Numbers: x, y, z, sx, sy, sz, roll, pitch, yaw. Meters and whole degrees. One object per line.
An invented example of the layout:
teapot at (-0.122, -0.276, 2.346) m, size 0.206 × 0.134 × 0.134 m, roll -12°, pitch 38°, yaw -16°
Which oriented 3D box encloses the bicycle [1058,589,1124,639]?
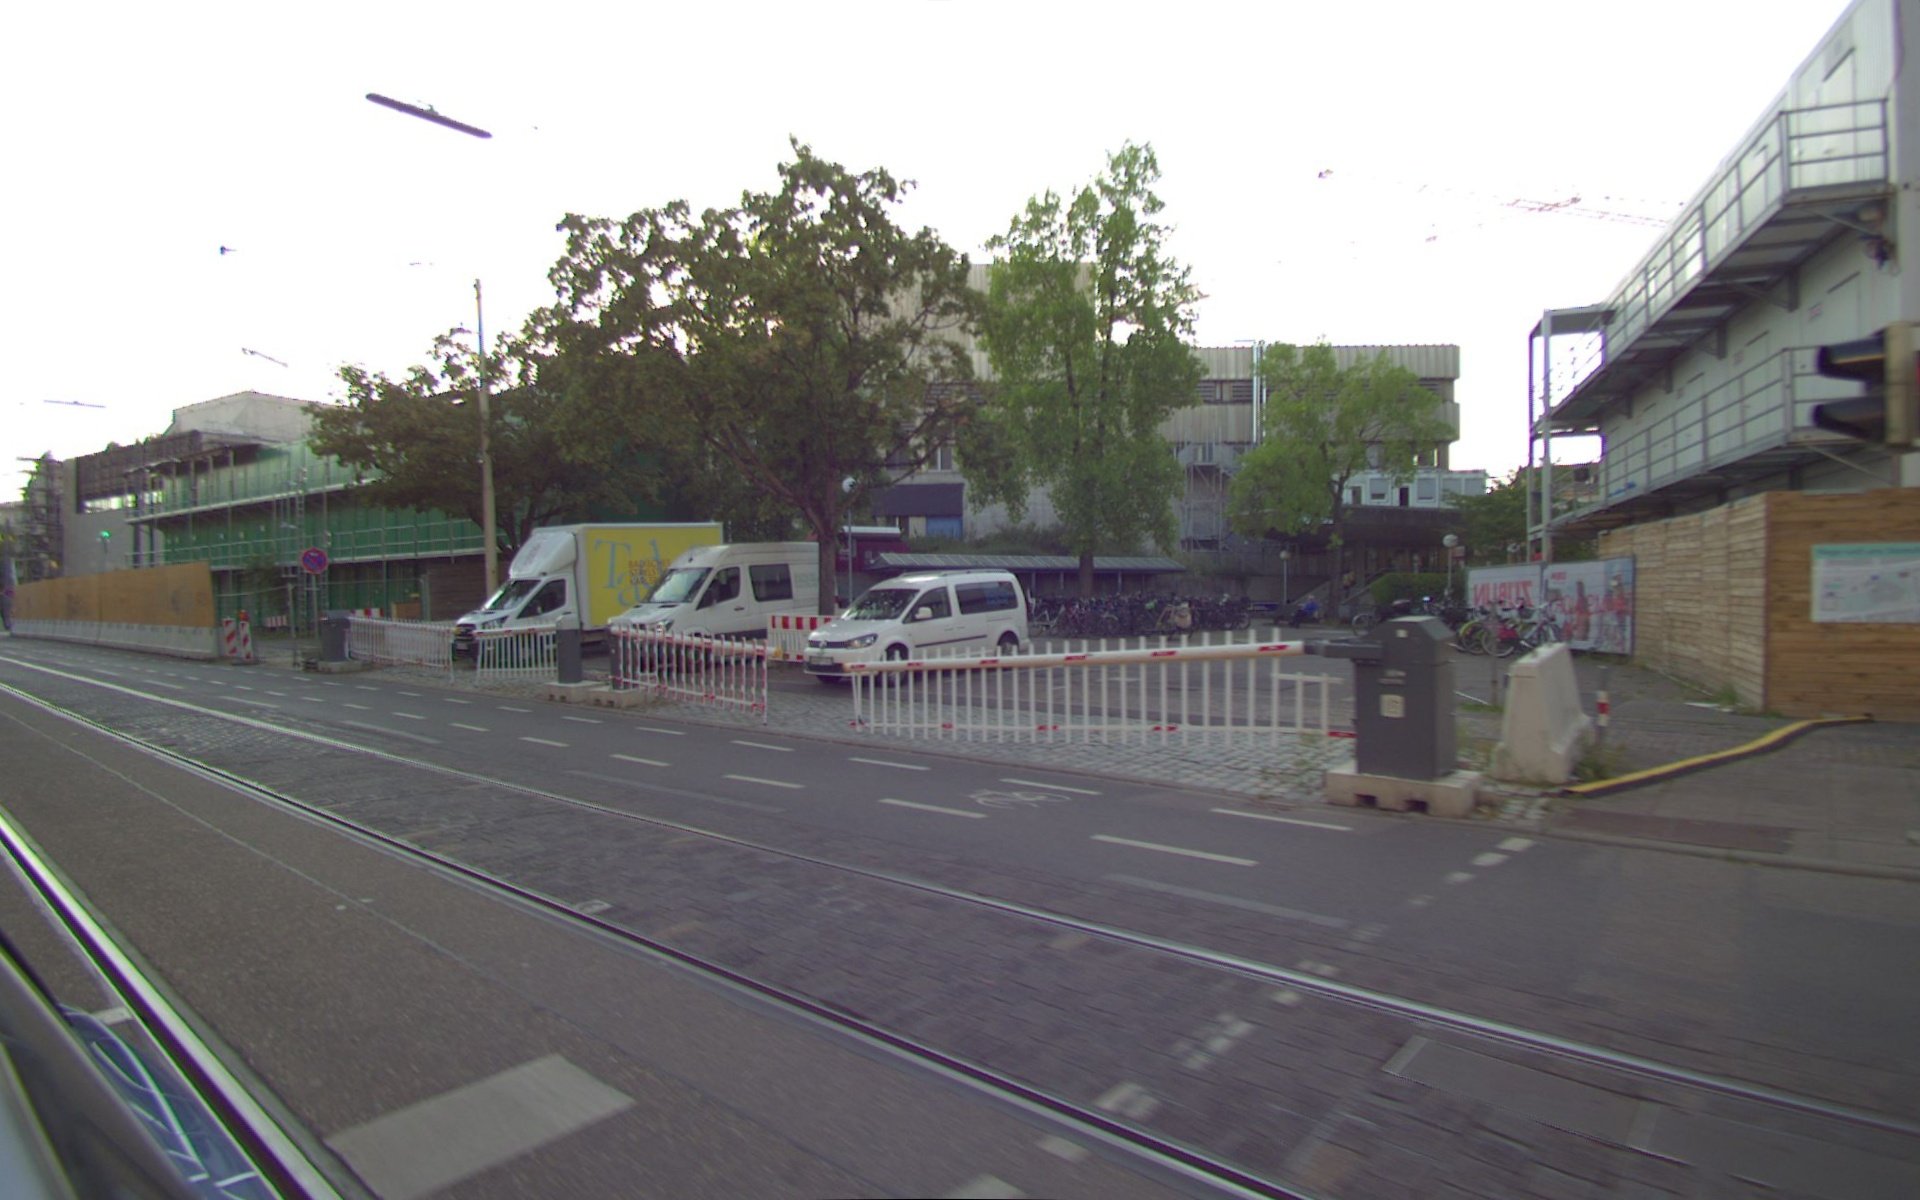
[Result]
bicycle at (3.766, 0.403, 29.266) m, size 0.535 × 1.379 × 1.978 m, roll -1°, pitch 0°, yaw -45°

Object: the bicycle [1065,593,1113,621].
bicycle at (5.744, 0.312, 45.177) m, size 0.798 × 1.191 × 2.271 m, roll -1°, pitch 0°, yaw -32°

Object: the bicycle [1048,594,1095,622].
bicycle at (4.919, 0.373, 44.912) m, size 0.798 × 1.191 × 2.271 m, roll -1°, pitch 0°, yaw -32°

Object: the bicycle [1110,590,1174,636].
bicycle at (5.600, 0.397, 31.159) m, size 0.535 × 1.379 × 1.978 m, roll -1°, pitch 0°, yaw -45°

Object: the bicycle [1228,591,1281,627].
bicycle at (11.563, 0.349, 39.829) m, size 0.535 × 1.379 × 1.978 m, roll -1°, pitch 0°, yaw -45°

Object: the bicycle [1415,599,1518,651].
bicycle at (11.246, 0.559, 22.522) m, size 1.956 × 1.114 × 0.541 m, roll -1°, pitch 0°, yaw 12°

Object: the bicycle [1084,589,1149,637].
bicycle at (4.650, 0.381, 30.195) m, size 0.535 × 1.379 × 1.978 m, roll -1°, pitch 0°, yaw -45°

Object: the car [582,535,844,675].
car at (-5.099, 0.085, 21.608) m, size 2.226 × 2.617 × 5.170 m, roll -1°, pitch 0°, yaw 37°

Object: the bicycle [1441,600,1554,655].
bicycle at (11.126, 0.569, 20.997) m, size 1.956 × 1.114 × 0.541 m, roll -1°, pitch 0°, yaw 12°

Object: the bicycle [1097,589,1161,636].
bicycle at (5.097, 0.380, 30.628) m, size 0.535 × 1.379 × 1.978 m, roll -1°, pitch 0°, yaw -45°

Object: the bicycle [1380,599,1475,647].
bicycle at (11.166, 0.558, 24.222) m, size 1.956 × 1.114 × 0.541 m, roll -1°, pitch 0°, yaw 12°

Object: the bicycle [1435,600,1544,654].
bicycle at (11.300, 0.579, 21.649) m, size 1.956 × 1.114 × 0.541 m, roll -1°, pitch 0°, yaw 12°

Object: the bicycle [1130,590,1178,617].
bicycle at (8.835, 0.161, 46.164) m, size 0.798 × 1.191 × 2.271 m, roll -1°, pitch 0°, yaw -32°

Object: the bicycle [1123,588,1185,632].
bicycle at (6.240, 0.335, 32.589) m, size 0.535 × 1.379 × 1.978 m, roll -1°, pitch 0°, yaw -45°

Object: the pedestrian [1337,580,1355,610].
pedestrian at (18.637, -0.263, 48.880) m, size 0.630 × 1.434 × 0.753 m, roll -1°, pitch 0°, yaw 37°

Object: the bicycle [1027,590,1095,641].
bicycle at (2.779, 0.420, 28.088) m, size 0.535 × 1.379 × 1.978 m, roll -1°, pitch 0°, yaw -45°

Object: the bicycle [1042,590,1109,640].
bicycle at (3.253, 0.411, 28.722) m, size 0.535 × 1.379 × 1.978 m, roll -1°, pitch 0°, yaw -45°

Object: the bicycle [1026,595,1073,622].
bicycle at (3.933, 0.379, 44.684) m, size 0.798 × 1.191 × 2.271 m, roll -1°, pitch 0°, yaw -32°

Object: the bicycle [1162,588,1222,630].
bicycle at (7.784, 0.302, 34.061) m, size 0.535 × 1.379 × 1.978 m, roll -1°, pitch 0°, yaw -45°

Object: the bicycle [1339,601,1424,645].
bicycle at (10.963, 0.594, 26.394) m, size 1.956 × 1.114 × 0.541 m, roll -1°, pitch 0°, yaw 12°

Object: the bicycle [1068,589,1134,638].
bicycle at (4.133, 0.396, 29.752) m, size 0.535 × 1.379 × 1.978 m, roll -1°, pitch 0°, yaw -45°

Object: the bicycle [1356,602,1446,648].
bicycle at (11.001, 0.624, 25.292) m, size 1.956 × 1.114 × 0.541 m, roll -1°, pitch 0°, yaw 12°

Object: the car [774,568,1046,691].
car at (-0.739, 0.431, 17.972) m, size 2.015 × 1.888 × 4.781 m, roll -1°, pitch 0°, yaw 42°

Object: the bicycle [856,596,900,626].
bicycle at (-3.360, 0.449, 41.235) m, size 0.798 × 1.191 × 2.271 m, roll -1°, pitch 0°, yaw -32°

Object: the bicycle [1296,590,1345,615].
bicycle at (17.911, 0.119, 50.305) m, size 0.798 × 1.191 × 2.271 m, roll -1°, pitch 0°, yaw -32°

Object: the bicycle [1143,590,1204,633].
bicycle at (7.034, 0.375, 33.441) m, size 0.535 × 1.379 × 1.978 m, roll -1°, pitch 0°, yaw -45°

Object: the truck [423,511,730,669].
truck at (-9.452, -0.237, 25.740) m, size 2.562 × 3.454 × 6.992 m, roll -1°, pitch 0°, yaw 37°

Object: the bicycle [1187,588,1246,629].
bicycle at (8.900, 0.309, 35.142) m, size 0.535 × 1.379 × 1.978 m, roll -1°, pitch 0°, yaw -45°

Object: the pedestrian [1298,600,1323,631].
pedestrian at (12.584, 0.551, 36.326) m, size 0.630 × 1.079 × 0.753 m, roll -1°, pitch 0°, yaw 37°

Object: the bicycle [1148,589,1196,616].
bicycle at (9.740, 0.118, 46.591) m, size 0.798 × 1.191 × 2.271 m, roll -1°, pitch 0°, yaw -32°

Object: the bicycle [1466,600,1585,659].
bicycle at (11.149, 0.583, 20.013) m, size 1.956 × 1.114 × 0.541 m, roll -1°, pitch 0°, yaw 12°

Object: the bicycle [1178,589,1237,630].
bicycle at (8.475, 0.317, 34.685) m, size 0.535 × 1.379 × 1.978 m, roll -1°, pitch 0°, yaw -45°

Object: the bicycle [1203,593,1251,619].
bicycle at (12.659, 0.271, 48.085) m, size 0.798 × 1.191 × 2.271 m, roll -1°, pitch 0°, yaw -32°

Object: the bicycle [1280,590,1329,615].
bicycle at (16.967, 0.134, 49.848) m, size 0.798 × 1.191 × 2.271 m, roll -1°, pitch 0°, yaw -32°
